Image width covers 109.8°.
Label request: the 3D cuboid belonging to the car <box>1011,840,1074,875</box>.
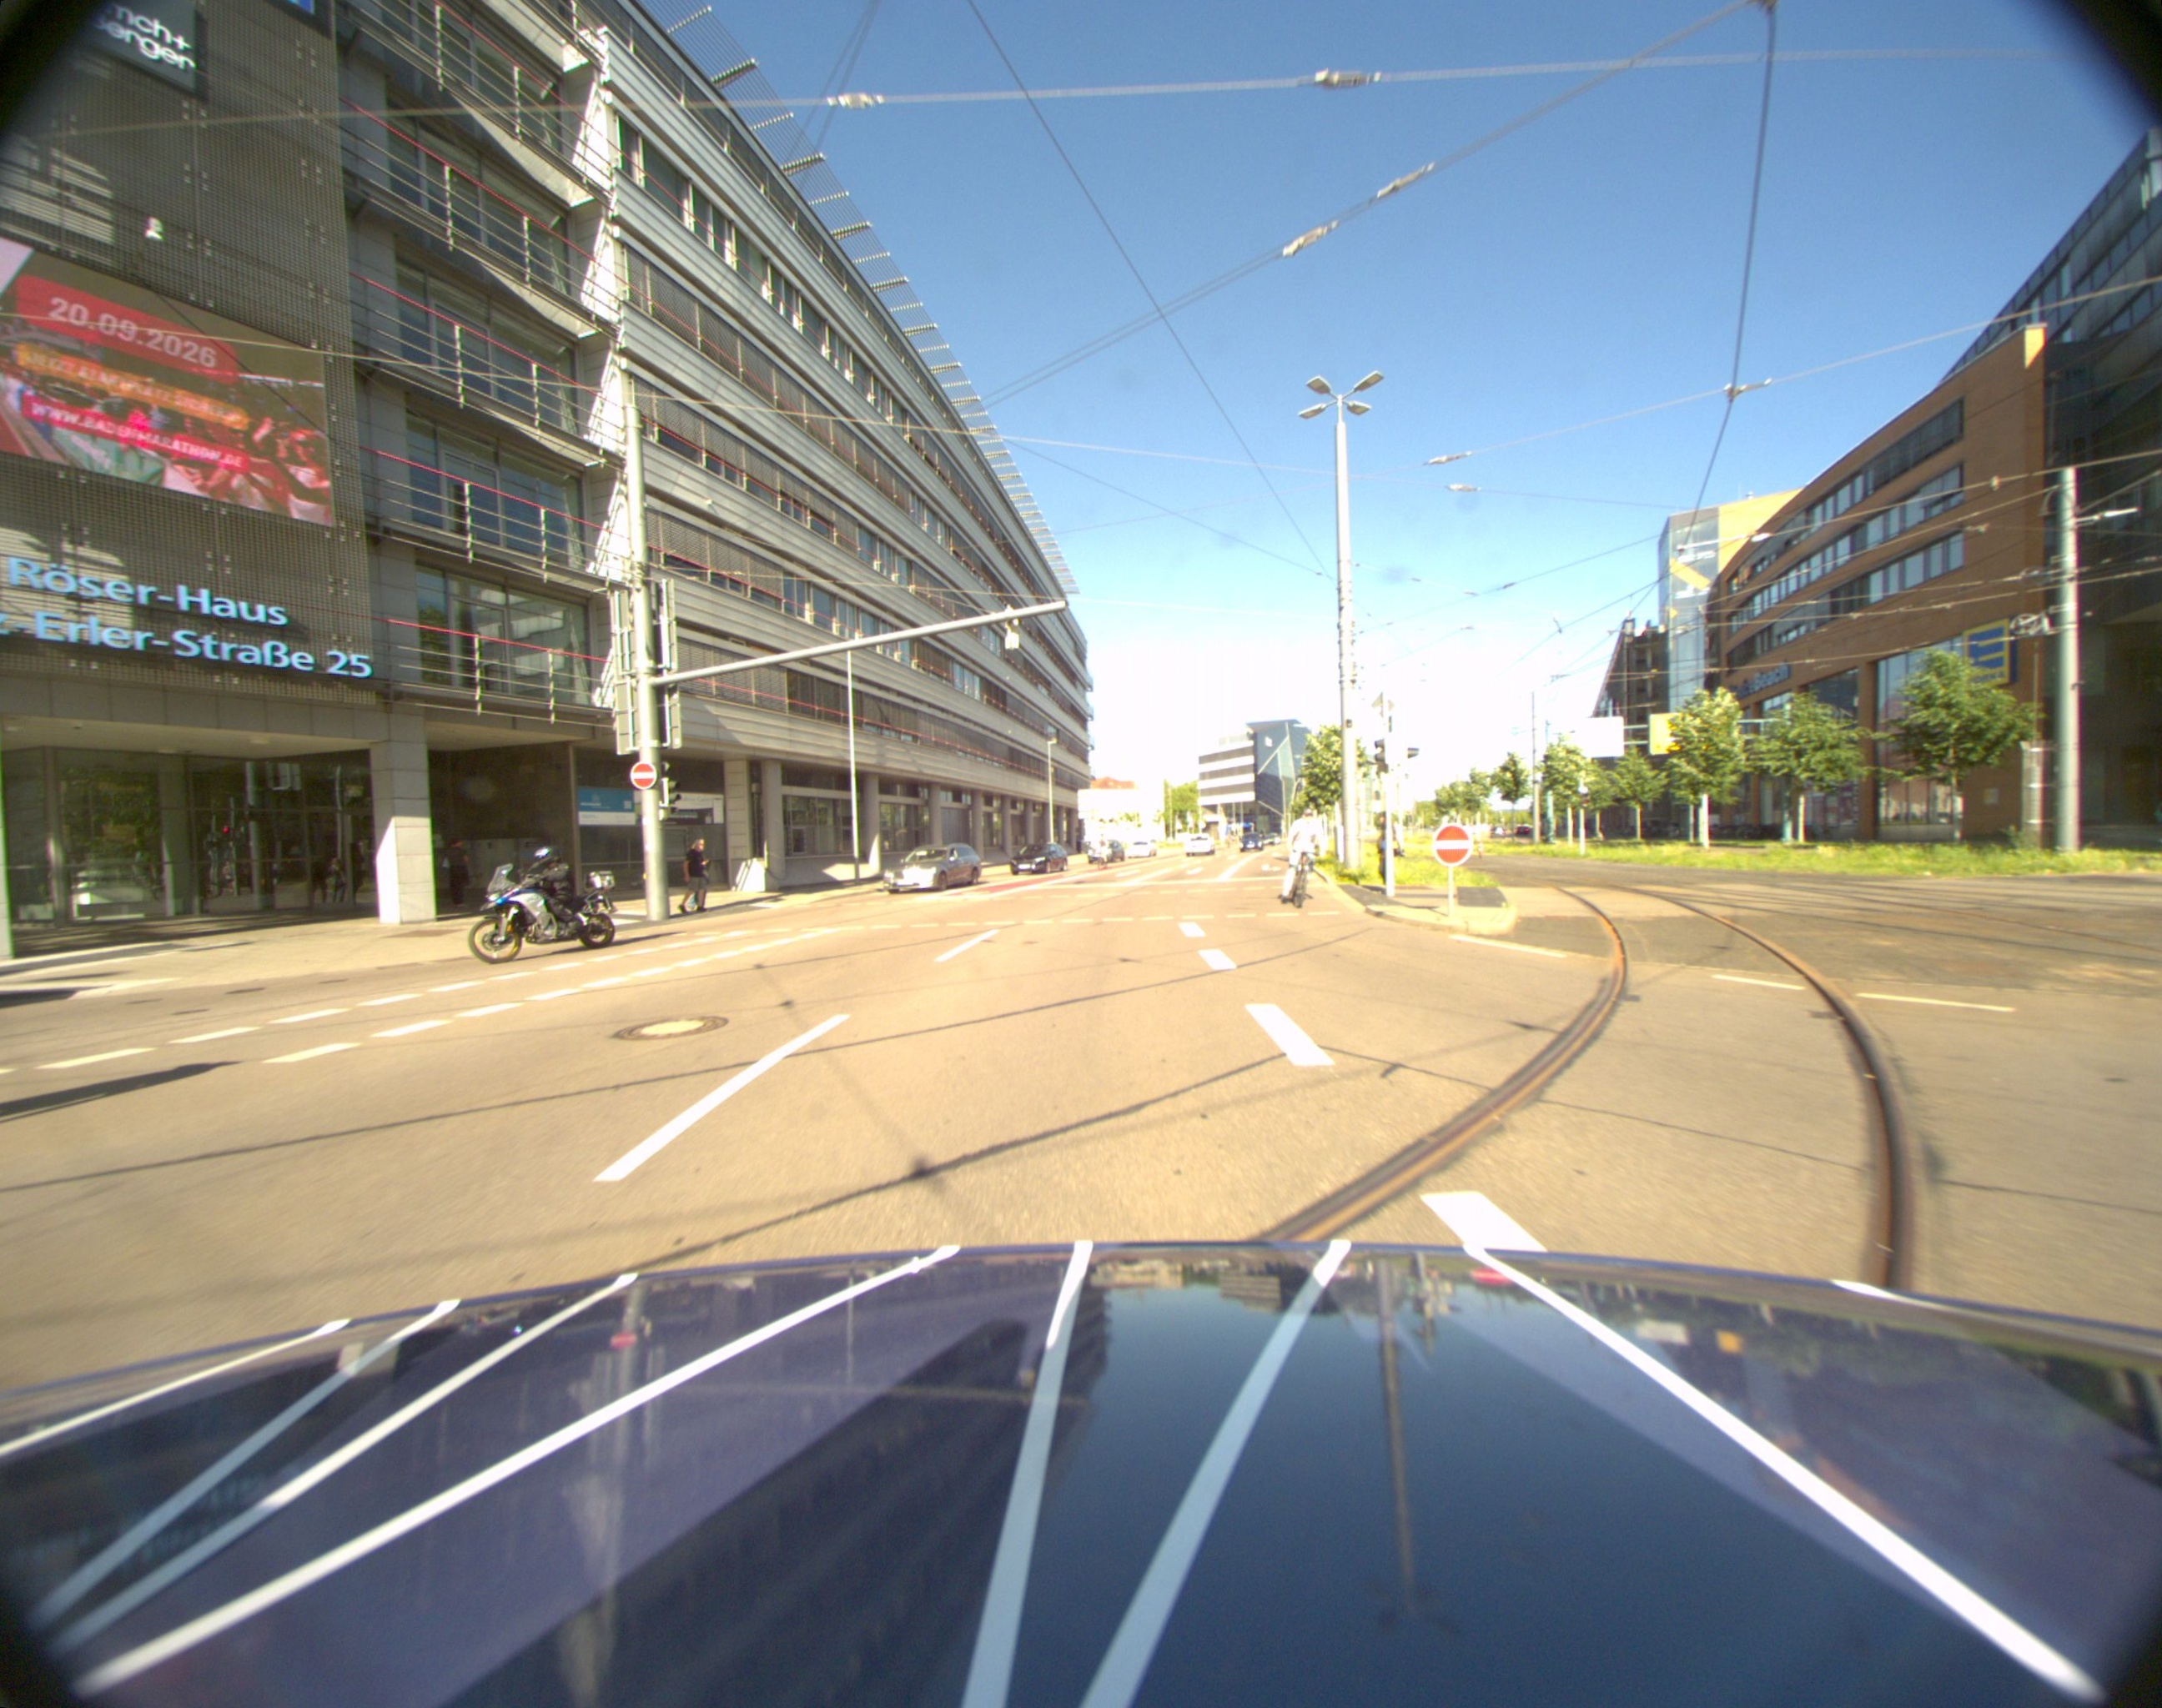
[{"bbox_3d":[-1.768,0.119,36.675,1.724,1.414,4.640,-1,2,14],"label":"car"}]

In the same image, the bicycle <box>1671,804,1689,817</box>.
[{"bbox_3d":[46.509,-3.394,59.034,0.353,0.921,1.896,-1,4,14],"label":"bicycle"}]

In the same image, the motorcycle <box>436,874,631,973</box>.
[{"bbox_3d":[-8.360,1.016,11.798,0.830,1.194,2.392,-2,3,15],"label":"motorcycle"}]

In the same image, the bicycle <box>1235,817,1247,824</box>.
[{"bbox_3d":[24.665,-5.177,117.177,1.702,0.949,0.698,1,3,30],"label":"bicycle"}]

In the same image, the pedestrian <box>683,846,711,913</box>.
[{"bbox_3d":[-9.647,0.624,19.116,0.563,1.636,0.428,-1,3,-21],"label":"pedestrian"}]

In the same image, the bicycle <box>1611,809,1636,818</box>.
[{"bbox_3d":[59.216,-4.406,82.917,2.175,0.949,0.493,-2,3,25],"label":"bicycle"}]

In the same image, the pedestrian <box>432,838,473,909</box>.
[{"bbox_3d":[-16.090,0.485,19.467,0.476,1.775,0.543,-1,3,2],"label":"pedestrian"}]

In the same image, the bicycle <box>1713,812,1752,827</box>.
[{"bbox_3d":[50.130,-2.654,58.490,2.175,1.117,0.754,-2,3,25],"label":"bicycle"}]

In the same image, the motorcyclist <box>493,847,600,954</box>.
[{"bbox_3d":[-8.322,0.707,11.862,0.830,1.553,0.942,-2,3,15],"label":"motorcyclist"}]

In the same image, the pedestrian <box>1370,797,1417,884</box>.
[{"bbox_3d":[6.437,-0.290,15.682,0.671,1.743,0.769,-1,3,3],"label":"pedestrian"}]

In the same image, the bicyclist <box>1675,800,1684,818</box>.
[{"bbox_3d":[46.498,-3.476,59.018,0.341,1.370,0.482,-1,4,14],"label":"bicyclist"}]

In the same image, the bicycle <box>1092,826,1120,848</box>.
[{"bbox_3d":[1.311,-0.905,39.191,0.826,1.031,1.893,-2,2,21],"label":"bicycle"}]

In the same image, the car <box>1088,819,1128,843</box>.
[{"bbox_3d":[1.899,-1.624,52.054,1.724,1.516,4.402,-1,2,16],"label":"car"}]

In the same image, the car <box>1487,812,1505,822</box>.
[{"bbox_3d":[53.802,-4.794,98.534,1.430,1.352,3.298,-1,3,18],"label":"car"}]

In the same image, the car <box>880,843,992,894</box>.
[{"bbox_3d":[-4.707,0.410,25.512,1.724,1.388,4.791,-1,2,15],"label":"car"}]

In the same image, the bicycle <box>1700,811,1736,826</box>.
[{"bbox_3d":[52.706,-2.923,62.875,2.175,1.117,0.754,-2,3,25],"label":"bicycle"}]

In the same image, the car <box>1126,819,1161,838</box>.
[{"bbox_3d":[5.134,-2.118,62.023,1.775,1.395,4.297,-3,2,18],"label":"car"}]

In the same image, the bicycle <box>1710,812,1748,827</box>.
[{"bbox_3d":[51.198,-2.741,60.087,2.175,1.117,0.754,-2,3,25],"label":"bicycle"}]

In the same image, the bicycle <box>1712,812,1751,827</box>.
[{"bbox_3d":[50.721,-2.696,59.250,2.175,1.117,0.754,-2,3,25],"label":"bicycle"}]

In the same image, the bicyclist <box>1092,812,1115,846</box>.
[{"bbox_3d":[1.160,-1.264,38.780,0.807,1.683,1.052,-2,2,21],"label":"bicyclist"}]

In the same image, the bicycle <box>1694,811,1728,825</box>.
[{"bbox_3d":[55.036,-3.137,66.377,2.175,1.117,0.754,-2,3,25],"label":"bicycle"}]

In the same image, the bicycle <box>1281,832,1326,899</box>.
[{"bbox_3d":[4.128,0.166,14.117,0.687,1.064,2.699,-2,2,16],"label":"bicycle"}]

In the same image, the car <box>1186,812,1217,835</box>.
[{"bbox_3d":[9.302,-2.404,58.446,1.871,1.621,4.341,-1,3,16],"label":"car"}]

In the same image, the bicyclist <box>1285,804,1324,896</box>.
[{"bbox_3d":[4.219,-0.092,14.356,0.618,1.660,1.020,-2,2,16],"label":"bicyclist"}]

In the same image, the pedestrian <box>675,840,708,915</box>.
[{"bbox_3d":[-9.494,0.549,18.551,0.609,1.788,0.638,-1,3,-21],"label":"pedestrian"}]

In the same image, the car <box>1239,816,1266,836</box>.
[{"bbox_3d":[14.256,-2.352,63.048,1.871,1.548,4.003,-1,3,16],"label":"car"}]

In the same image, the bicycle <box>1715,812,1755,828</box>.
[{"bbox_3d":[49.722,-2.592,57.768,2.175,1.117,0.754,-2,3,25],"label":"bicycle"}]

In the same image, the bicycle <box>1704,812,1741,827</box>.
[{"bbox_3d":[52.194,-2.839,61.840,2.175,1.117,0.754,-2,3,25],"label":"bicycle"}]

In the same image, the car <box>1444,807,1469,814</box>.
[{"bbox_3d":[67.122,-7.734,135.949,3.989,1.084,2.003,0,3,27],"label":"car"}]

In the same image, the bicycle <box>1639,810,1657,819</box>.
[{"bbox_3d":[57.450,-3.976,77.007,1.447,0.814,0.446,-2,3,25],"label":"bicycle"}]
